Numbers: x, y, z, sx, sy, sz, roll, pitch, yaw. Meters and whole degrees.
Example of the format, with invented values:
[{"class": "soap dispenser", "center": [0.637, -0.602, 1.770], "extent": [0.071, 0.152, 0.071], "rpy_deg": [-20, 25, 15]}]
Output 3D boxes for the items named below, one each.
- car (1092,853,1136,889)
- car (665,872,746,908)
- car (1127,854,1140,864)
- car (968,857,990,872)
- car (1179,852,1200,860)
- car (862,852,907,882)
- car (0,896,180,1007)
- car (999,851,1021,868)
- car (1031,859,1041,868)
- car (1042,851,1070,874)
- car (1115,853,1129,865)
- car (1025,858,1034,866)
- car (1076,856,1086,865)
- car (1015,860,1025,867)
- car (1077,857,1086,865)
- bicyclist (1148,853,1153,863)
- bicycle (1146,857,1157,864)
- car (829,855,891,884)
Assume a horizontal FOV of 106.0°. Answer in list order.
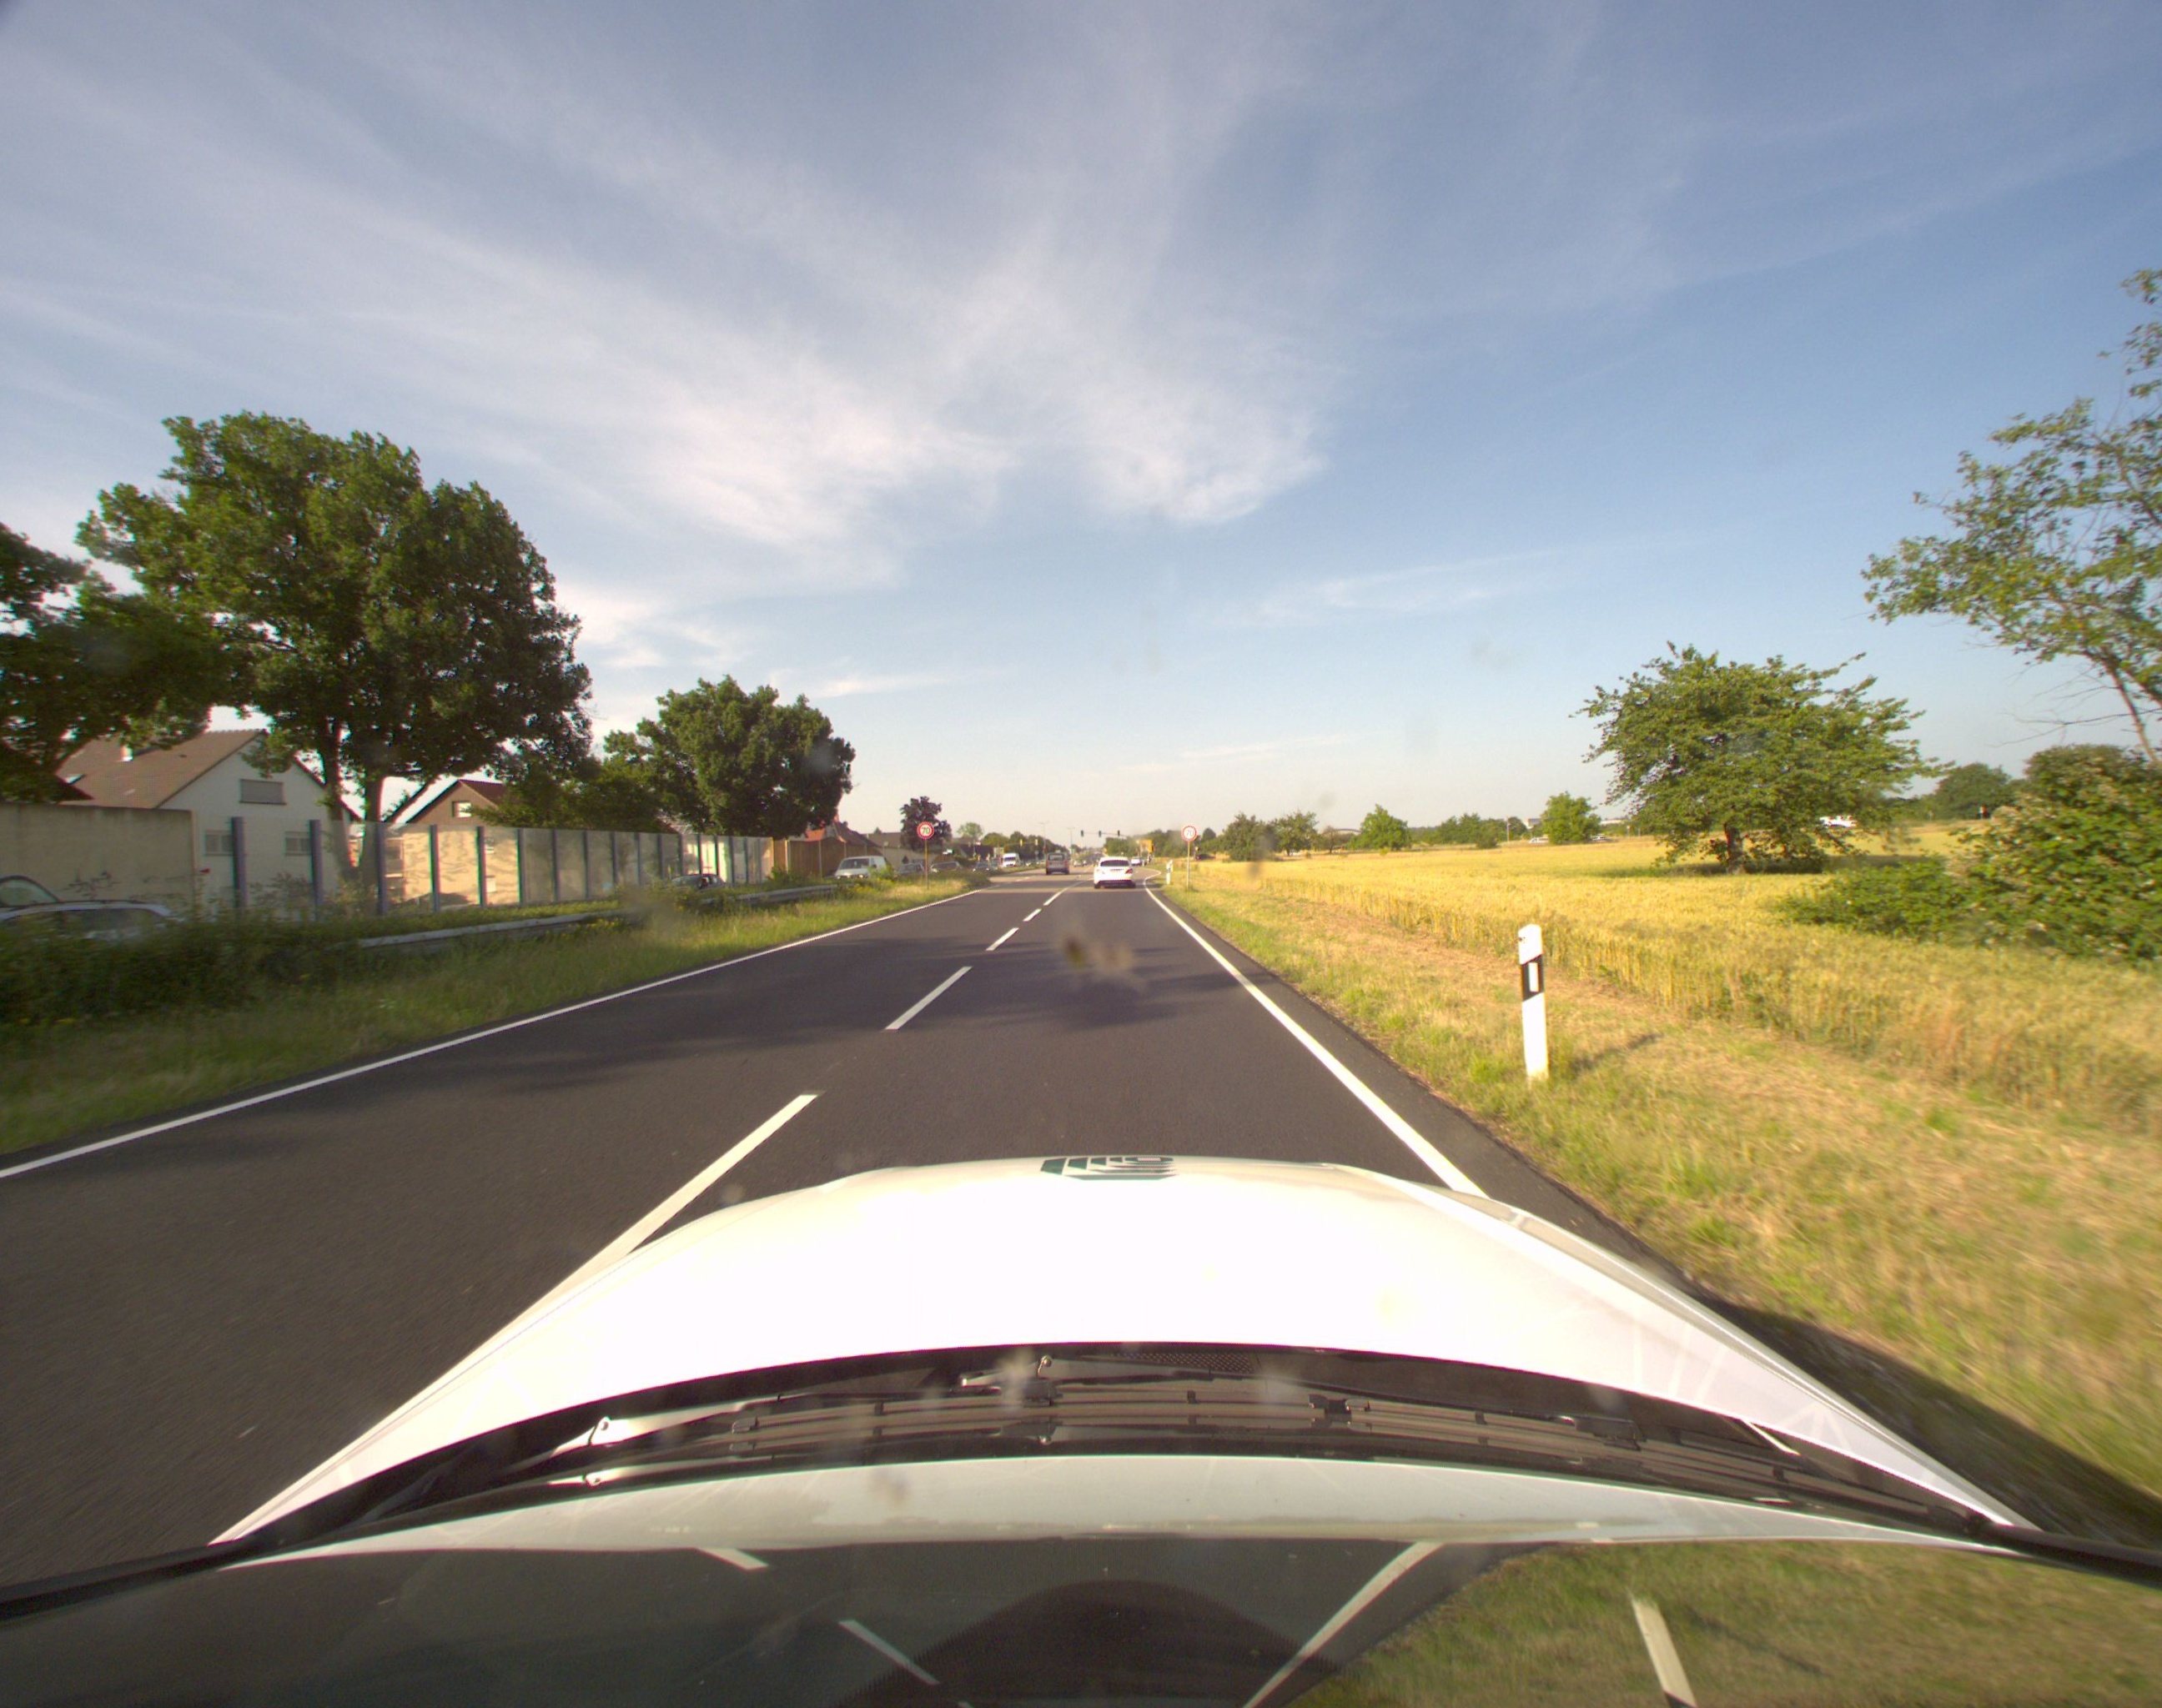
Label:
[{"class": "car", "center": [1.488, 0.732, 37.536], "extent": [1.888, 1.509, 4.001], "rpy_deg": [-2, 0, 1]}, {"class": "car", "center": [-15.910, 1.488, 34.684], "extent": [1.667, 1.378, 3.609], "rpy_deg": [-1, 0, 2]}, {"class": "car", "center": [8.799, 0.767, 135.705], "extent": [1.849, 1.598, 3.999], "rpy_deg": [-1, 0, -1]}, {"class": "car", "center": [-10.644, 1.064, 84.997], "extent": [1.642, 1.442, 3.570], "rpy_deg": [-1, 0, 2]}, {"class": "car", "center": [19.688, 0.343, 147.759], "extent": [3.668, 1.420, 1.641], "rpy_deg": [-1, 0, 3]}, {"class": "car", "center": [-12.455, 0.811, 51.903], "extent": [1.757, 1.832, 4.369], "rpy_deg": [-1, 0, 1]}, {"class": "car", "center": [-16.008, 1.429, 11.644], "extent": [1.748, 1.442, 4.000], "rpy_deg": [-1, 0, 1]}, {"class": "car", "center": [-10.236, 0.786, 117.910], "extent": [2.340, 2.303, 7.192], "rpy_deg": [-1, 0, 1]}, {"class": "car", "center": [-8.666, 1.883, 157.003], "extent": [1.725, 1.625, 4.923], "rpy_deg": [-1, 0, 1]}, {"class": "car", "center": [-2.083, 0.725, 70.117], "extent": [2.017, 1.891, 4.961], "rpy_deg": [-1, 0, 2]}, {"class": "car", "center": [5.500, 0.701, 110.532], "extent": [1.747, 1.517, 4.002], "rpy_deg": [-2, 0, 2]}, {"class": "car", "center": [-12.145, 1.873, 191.251], "extent": [1.716, 1.706, 4.002], "rpy_deg": [-1, 0, 2]}, {"class": "car", "center": [0.030, 1.102, 143.654], "extent": [1.711, 1.492, 3.586], "rpy_deg": [-1, 0, 2]}, {"class": "car", "center": [-12.431, 1.947, 166.479], "extent": [1.704, 1.456, 4.002], "rpy_deg": [-1, 0, 2]}, {"class": "car", "center": [0.141, 1.482, 179.186], "extent": [1.771, 1.665, 3.660], "rpy_deg": [-1, 0, -2]}, {"class": "bicyclist", "center": [12.747, 0.776, 149.102], "extent": [0.844, 1.756, 0.800], "rpy_deg": [-1, 0, 5]}, {"class": "bicycle", "center": [12.914, 1.182, 149.089], "extent": [2.086, 1.089, 0.809], "rpy_deg": [-1, 0, 4]}, {"class": "car", "center": [-12.131, 0.799, 45.045], "extent": [1.974, 1.484, 5.060], "rpy_deg": [-1, 0, 1]}]
